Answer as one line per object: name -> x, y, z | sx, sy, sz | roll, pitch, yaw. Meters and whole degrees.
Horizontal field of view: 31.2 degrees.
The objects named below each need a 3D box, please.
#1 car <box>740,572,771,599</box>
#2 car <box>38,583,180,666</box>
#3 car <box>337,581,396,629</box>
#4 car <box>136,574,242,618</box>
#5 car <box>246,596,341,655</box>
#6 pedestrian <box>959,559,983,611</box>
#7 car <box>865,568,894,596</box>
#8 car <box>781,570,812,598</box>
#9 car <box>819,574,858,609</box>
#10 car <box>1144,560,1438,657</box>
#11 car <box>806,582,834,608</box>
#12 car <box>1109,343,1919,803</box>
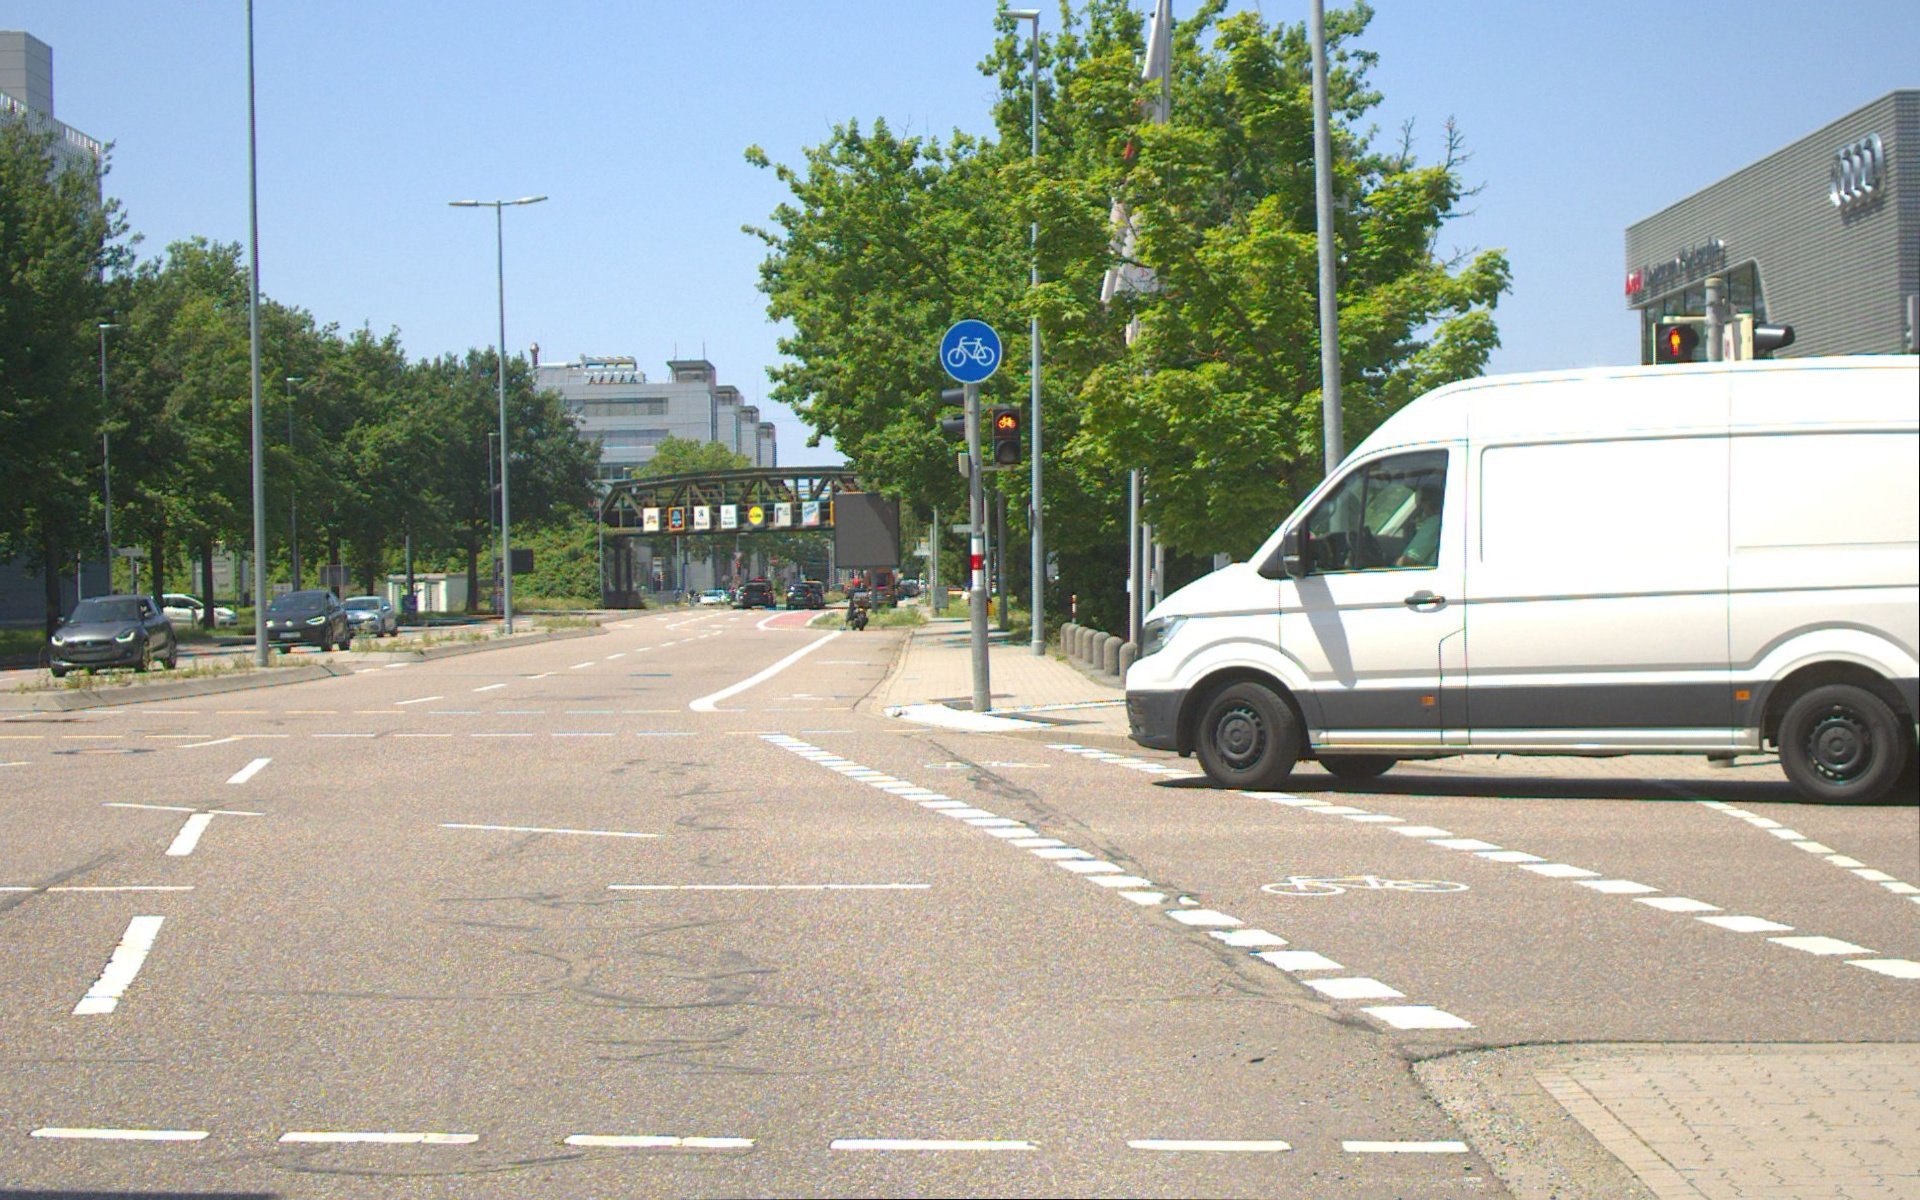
car -> -13.407, -0.961, 225.734 | 1.772, 1.722, 4.000 | -1, 0, -1
car -> -16.008, 0.445, 64.808 | 1.732, 1.422, 3.706 | -3, 0, -1
car -> -20.949, 0.163, 121.510 | 1.648, 1.647, 4.164 | -1, 1, -5
car -> -33.455, -0.175, 149.278 | 4.016, 1.804, 2.000 | 1, 1, 7
car -> -16.719, 0.621, 86.364 | 1.684, 1.406, 3.665 | -1, 0, -1
pedestrian -> 0.323, -0.438, 99.797 | 0.668, 1.505, 0.736 | -1, 0, -1
car -> -5.152, -1.163, 221.144 | 1.772, 1.722, 4.000 | -1, 0, -1
car -> -10.473, -1.015, 220.330 | 1.772, 1.722, 4.000 | -1, 0, -1
car -> -3.724, -0.268, 105.518 | 1.137, 1.038, 2.308 | -1, 1, -1
car -> 5.619, 0.123, 58.800 | 4.741, 1.452, 2.000 | -2, 1, -2
car -> -9.580, -0.371, 235.000 | 1.772, 1.722, 4.000 | -1, 0, -1
car -> 3.972, -0.157, 20.759 | 5.791, 2.525, 2.099 | 0, 0, 28
